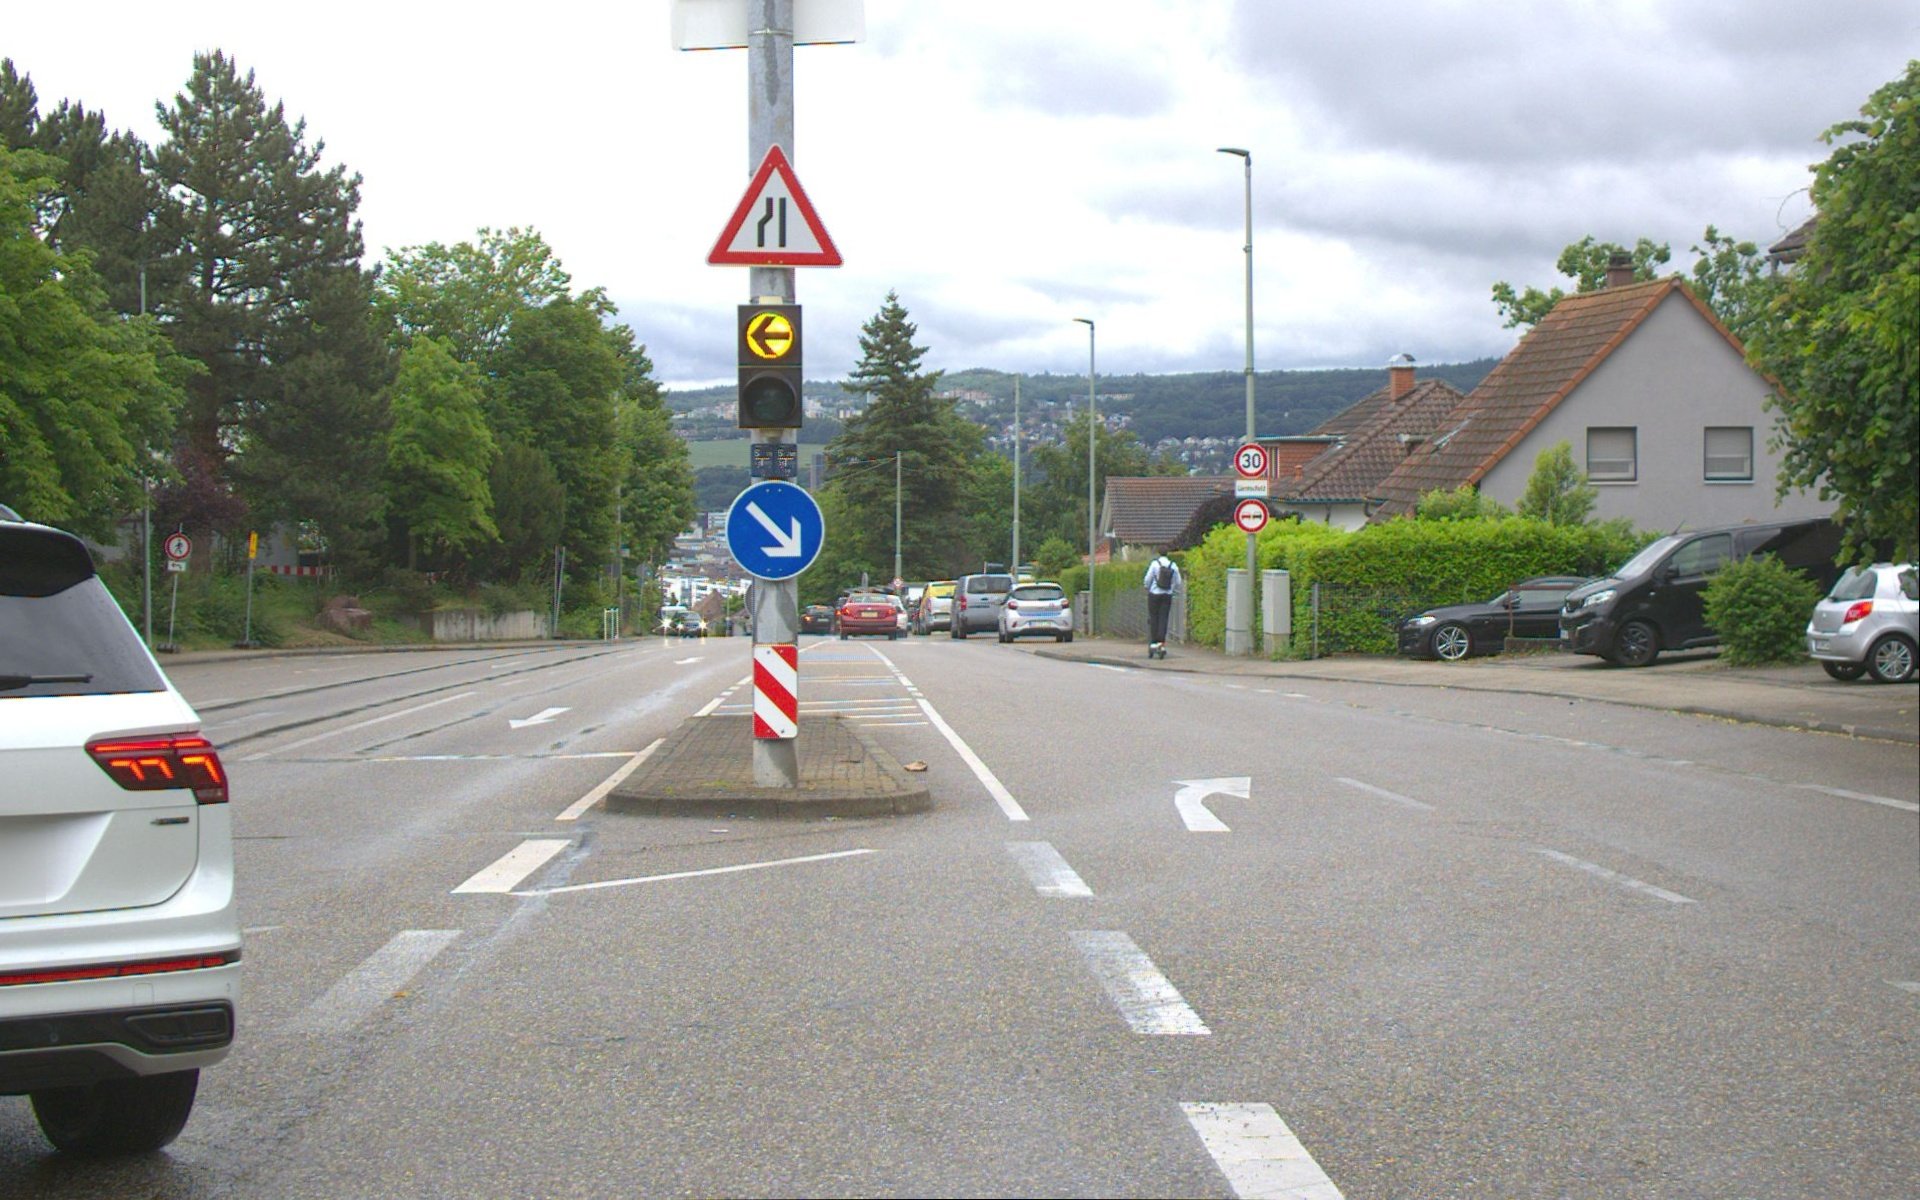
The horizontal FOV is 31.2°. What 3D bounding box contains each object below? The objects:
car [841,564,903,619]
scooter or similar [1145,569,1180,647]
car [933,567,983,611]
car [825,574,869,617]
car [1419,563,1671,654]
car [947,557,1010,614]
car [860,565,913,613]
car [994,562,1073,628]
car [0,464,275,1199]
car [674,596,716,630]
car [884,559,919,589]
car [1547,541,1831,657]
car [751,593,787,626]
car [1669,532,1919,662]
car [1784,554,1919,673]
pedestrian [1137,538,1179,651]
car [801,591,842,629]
[{"bbox_3d":[-2.625,-0.271,103.439,1.754,1.569,4.000,-1,1,0],"label":"car"},{"bbox_3d":[3.599,0.138,61.191,0.461,1.356,1.385,0,1,-4],"label":"scooter or similar"},{"bbox_3d":[-0.096,-0.435,130.075,1.850,1.569,4.000,-1,1,0],"label":"car"},{"bbox_3d":[-4.830,-0.202,147.080,1.797,1.777,4.000,0,1,-1],"label":"car"},{"bbox_3d":[9.215,0.140,54.338,3.687,1.365,1.519,1,-1,-2],"label":"car"},{"bbox_3d":[0.554,-0.464,105.363,1.850,1.569,4.001,1,2,0],"label":"car"},{"bbox_3d":[-2.482,-0.390,116.585,1.738,1.569,4.000,-1,1,0],"label":"car"},{"bbox_3d":[1.834,-0.140,86.860,1.850,1.569,4.000,1,1,0],"label":"car"},{"bbox_3d":[-3.504,0.525,9.039,1.763,1.690,4.272,-1,1,-35],"label":"car"},{"bbox_3d":[-13.910,0.672,180.720,1.844,1.711,4.000,0,1,0],"label":"car"},{"bbox_3d":[-3.171,-1.446,187.018,1.850,1.569,4.000,-1,1,0],"label":"car"},{"bbox_3d":[10.415,-0.029,49.283,3.627,1.620,1.791,0,1,-4],"label":"car"},{"bbox_3d":[-10.960,0.551,197.490,1.887,1.787,4.000,0,1,-1],"label":"car"},{"bbox_3d":[11.699,-0.053,46.939,3.627,1.740,1.708,0,1,-4],"label":"car"},{"bbox_3d":[12.081,0.149,41.589,3.713,1.390,1.729,-1,0,-7],"label":"car"},{"bbox_3d":[3.515,-0.098,61.094,0.655,1.995,0.718,0,1,-4],"label":"pedestrian"},{"bbox_3d":[-6.787,0.477,168.763,1.887,1.787,4.000,0,1,0],"label":"car"}]
